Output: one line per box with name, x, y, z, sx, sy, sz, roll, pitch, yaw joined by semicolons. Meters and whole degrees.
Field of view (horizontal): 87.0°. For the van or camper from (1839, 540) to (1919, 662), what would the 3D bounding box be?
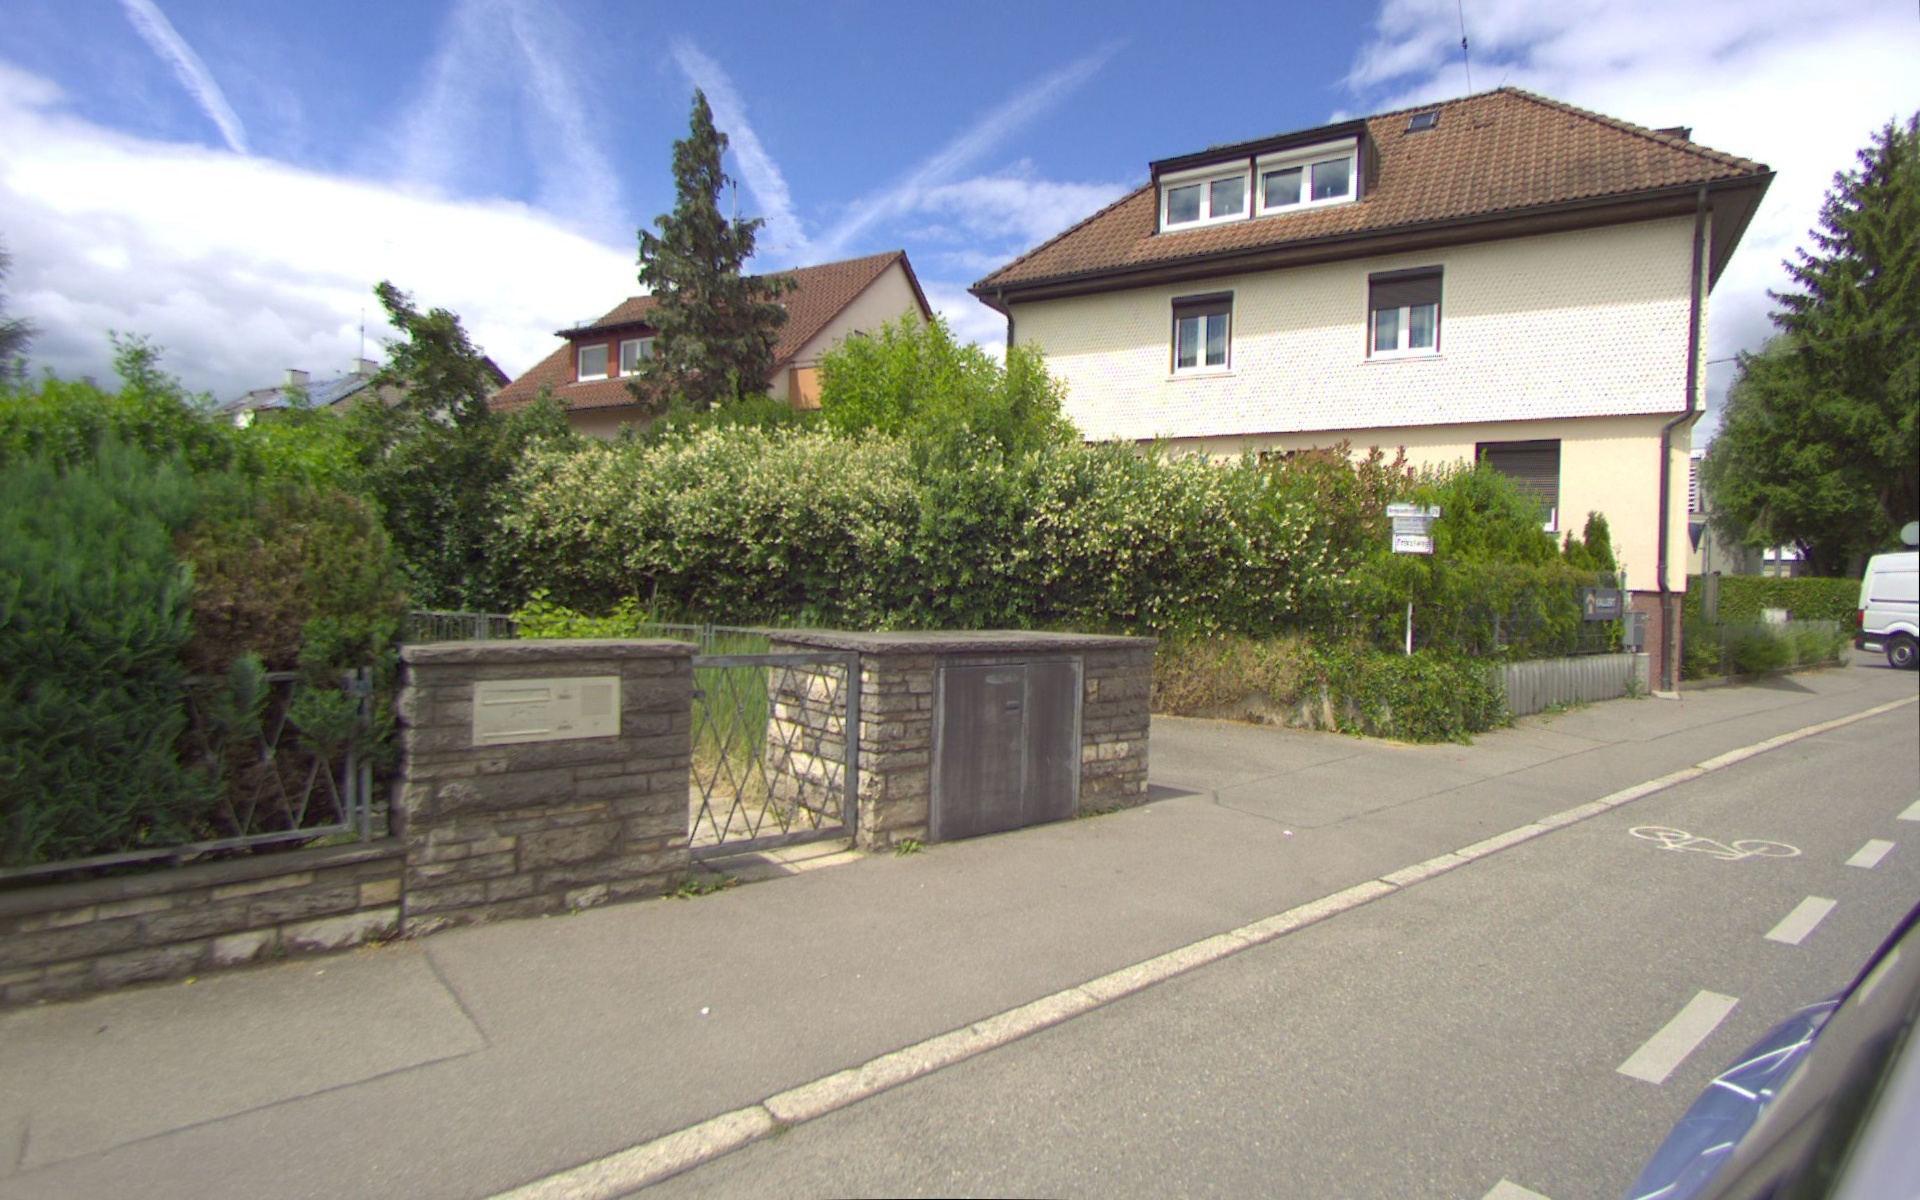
van or camper;21.655;0.026;20.722;1.992;2.613;5.924;1;-1;-2
